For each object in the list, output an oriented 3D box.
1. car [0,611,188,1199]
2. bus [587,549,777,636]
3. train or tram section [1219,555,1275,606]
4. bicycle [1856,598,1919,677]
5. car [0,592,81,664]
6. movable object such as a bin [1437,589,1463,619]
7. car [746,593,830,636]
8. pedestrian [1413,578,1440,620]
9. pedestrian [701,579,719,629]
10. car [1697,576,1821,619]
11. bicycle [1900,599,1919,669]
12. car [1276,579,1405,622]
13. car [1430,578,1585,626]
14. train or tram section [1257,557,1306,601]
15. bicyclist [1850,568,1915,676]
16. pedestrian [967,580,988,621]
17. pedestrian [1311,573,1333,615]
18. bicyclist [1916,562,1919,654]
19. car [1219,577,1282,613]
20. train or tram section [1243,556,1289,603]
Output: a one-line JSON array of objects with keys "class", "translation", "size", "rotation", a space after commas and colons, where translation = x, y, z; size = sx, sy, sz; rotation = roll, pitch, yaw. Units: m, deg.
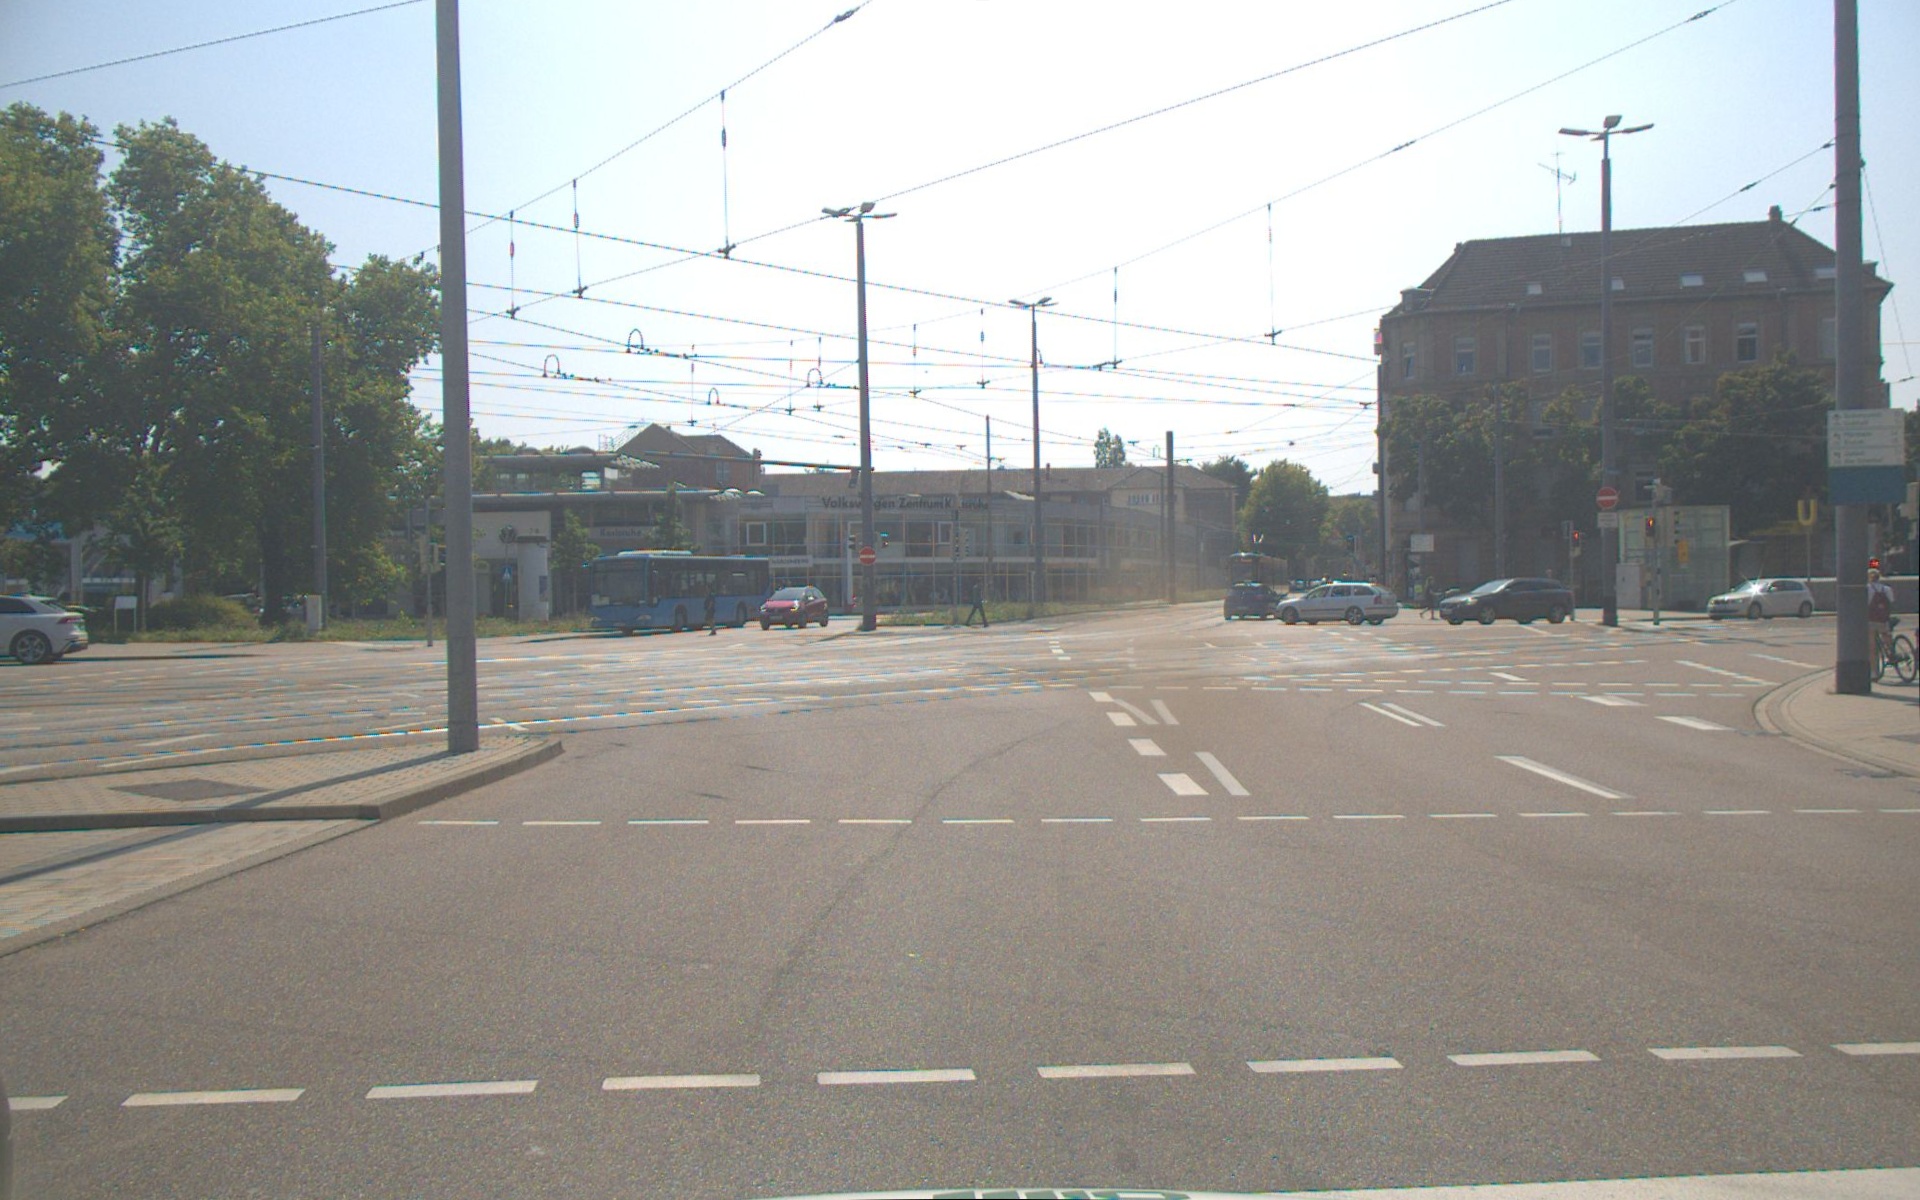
[{"class": "car", "translation": [-2.499, 0.732, 1.407], "size": [1.728, 1.412, 3.783], "rotation": [1, 0, 3]}, {"class": "bus", "translation": [-10.872, -0.336, 66.449], "size": [2.508, 3.136, 12.031], "rotation": [-1, 0, 16]}, {"class": "train or tram section", "translation": [21.292, -1.425, 122.108], "size": [2.534, 3.578, 10.904], "rotation": [-1, 0, 18]}, {"class": "bicycle", "translation": [13.430, 0.521, 23.750], "size": [0.525, 1.073, 1.655], "rotation": [-1, 0, 12]}, {"class": "car", "translation": [-23.181, 0.677, 38.785], "size": [4.255, 1.646, 1.745], "rotation": [-1, 0, -18]}, {"class": "movable object such as a bin", "translation": [18.659, 0.156, 62.981], "size": [0.798, 1.096, 0.510], "rotation": [-1, 0, -11]}, {"class": "car", "translation": [-6.524, 0.532, 63.236], "size": [1.713, 1.579, 4.002], "rotation": [-1, 0, 17]}, {"class": "pedestrian", "translation": [17.862, -0.047, 63.320], "size": [0.834, 1.572, 0.528], "rotation": [-1, 0, -9]}, {"class": "pedestrian", "translation": [-8.602, 0.144, 56.946], "size": [0.544, 1.713, 0.452], "rotation": [-1, 0, -19]}, {"class": "car", "translation": [28.186, -0.099, 58.336], "size": [4.135, 1.440, 1.762], "rotation": [-1, 0, -25]}, {"class": "bicycle", "translation": [15.023, 0.522, 25.401], "size": [0.525, 1.073, 1.655], "rotation": [-1, 0, 12]}, {"class": "car", "translation": [13.435, 0.018, 58.481], "size": [4.110, 1.440, 1.767], "rotation": [-1, 0, 40]}, {"class": "car", "translation": [17.680, 0.044, 53.435], "size": [4.683, 1.440, 1.765], "rotation": [-1, 0, -20]}, {"class": "train or tram section", "translation": [27.858, -1.768, 142.787], "size": [2.534, 3.578, 12.979], "rotation": [-1, 0, 18]}, {"class": "bicyclist", "translation": [13.436, 0.312, 24.100], "size": [0.614, 1.544, 0.712], "rotation": [-1, 0, 12]}, {"class": "pedestrian", "translation": [0.616, 0.016, 59.330], "size": [0.666, 1.468, 0.364], "rotation": [-1, 0, -18]}, {"class": "pedestrian", "translation": [14.297, -0.228, 65.351], "size": [0.686, 1.631, 0.572], "rotation": [-1, 0, -8]}, {"class": "bicyclist", "translation": [14.922, 0.123, 25.032], "size": [0.519, 1.417, 0.894], "rotation": [-1, 0, 12]}, {"class": "car", "translation": [11.825, -0.226, 67.186], "size": [1.559, 1.418, 3.997], "rotation": [-1, 0, 25]}, {"class": "train or tram section", "translation": [24.466, -1.595, 131.908], "size": [2.534, 3.578, 9.664], "rotation": [-1, 0, 17]}]
